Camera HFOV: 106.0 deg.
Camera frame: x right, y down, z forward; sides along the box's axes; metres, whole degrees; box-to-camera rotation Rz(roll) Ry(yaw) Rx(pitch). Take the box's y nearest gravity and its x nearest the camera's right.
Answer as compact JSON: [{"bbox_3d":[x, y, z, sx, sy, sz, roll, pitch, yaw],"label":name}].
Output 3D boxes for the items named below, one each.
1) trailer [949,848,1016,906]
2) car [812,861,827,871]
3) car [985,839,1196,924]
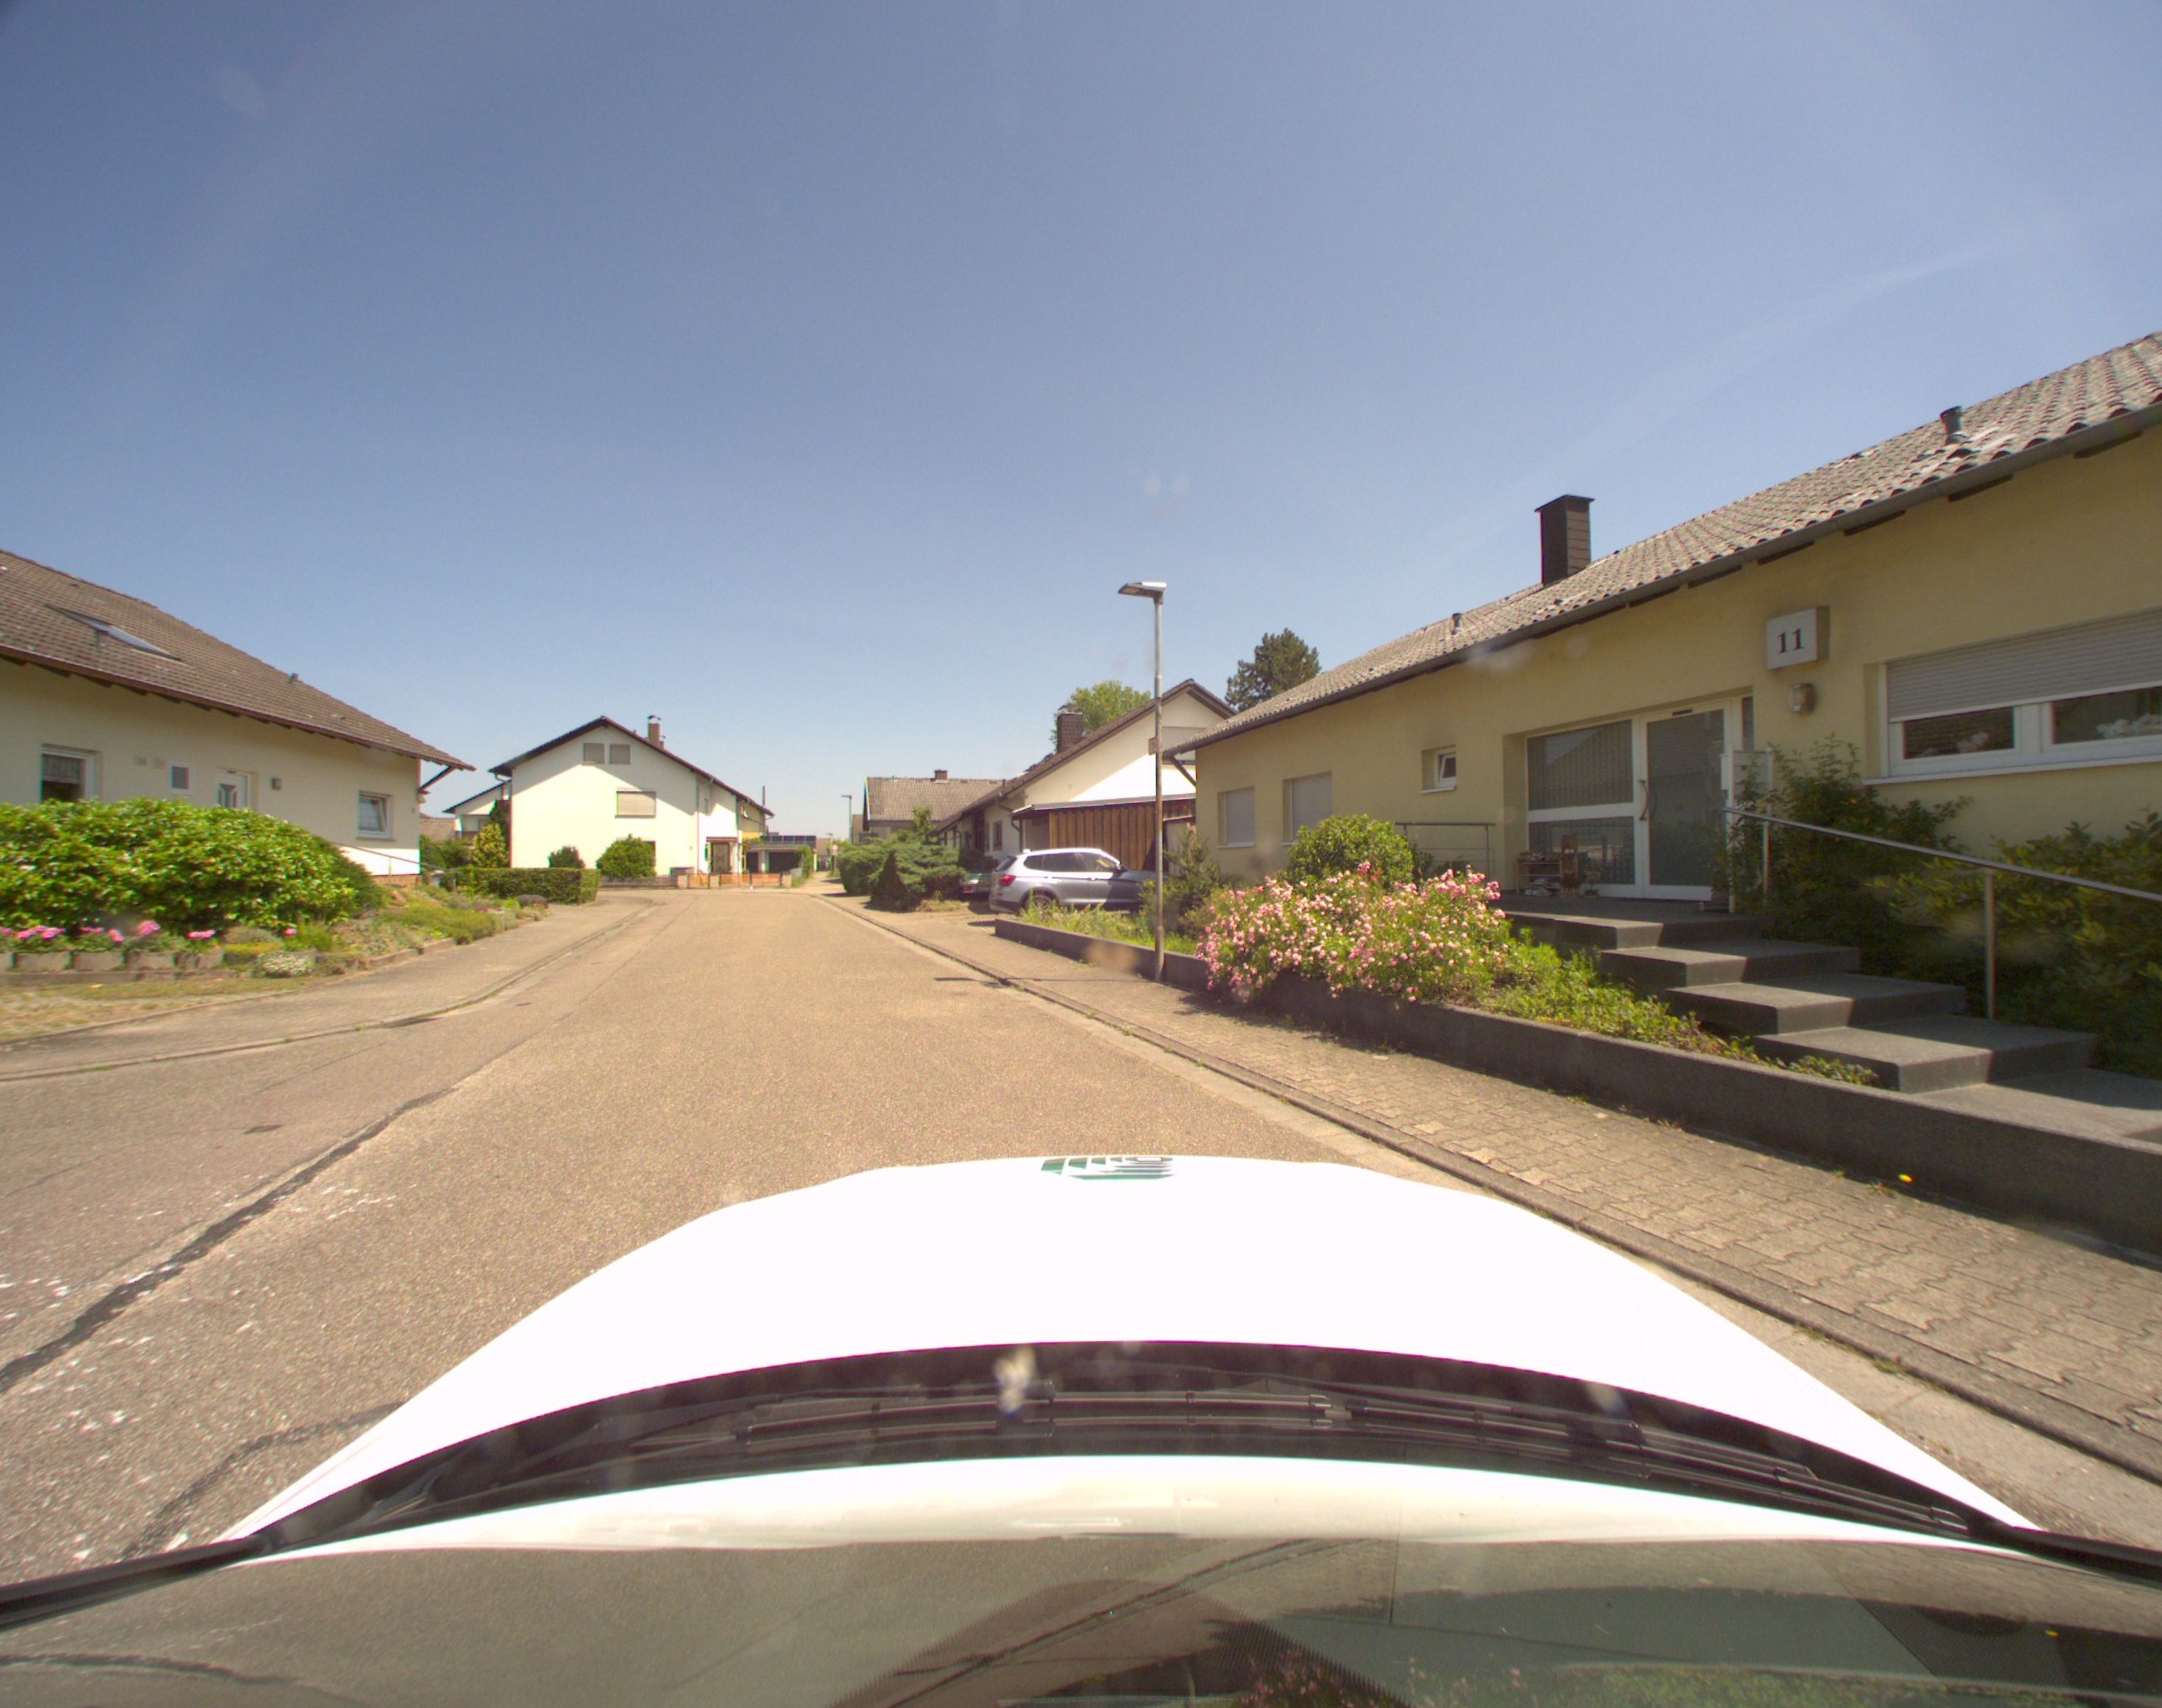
[{"bbox_3d":[-3.202,0.691,25.943,1.590,1.672,3.278,-2,1,-16],"label":"trailer"},{"bbox_3d":[-43.736,1.970,136.377,2.198,1.701,3.786,-1,0,-16],"label":"car"},{"bbox_3d":[0.184,0.598,19.076,4.634,1.702,1.701,-2,0,-14],"label":"car"}]
